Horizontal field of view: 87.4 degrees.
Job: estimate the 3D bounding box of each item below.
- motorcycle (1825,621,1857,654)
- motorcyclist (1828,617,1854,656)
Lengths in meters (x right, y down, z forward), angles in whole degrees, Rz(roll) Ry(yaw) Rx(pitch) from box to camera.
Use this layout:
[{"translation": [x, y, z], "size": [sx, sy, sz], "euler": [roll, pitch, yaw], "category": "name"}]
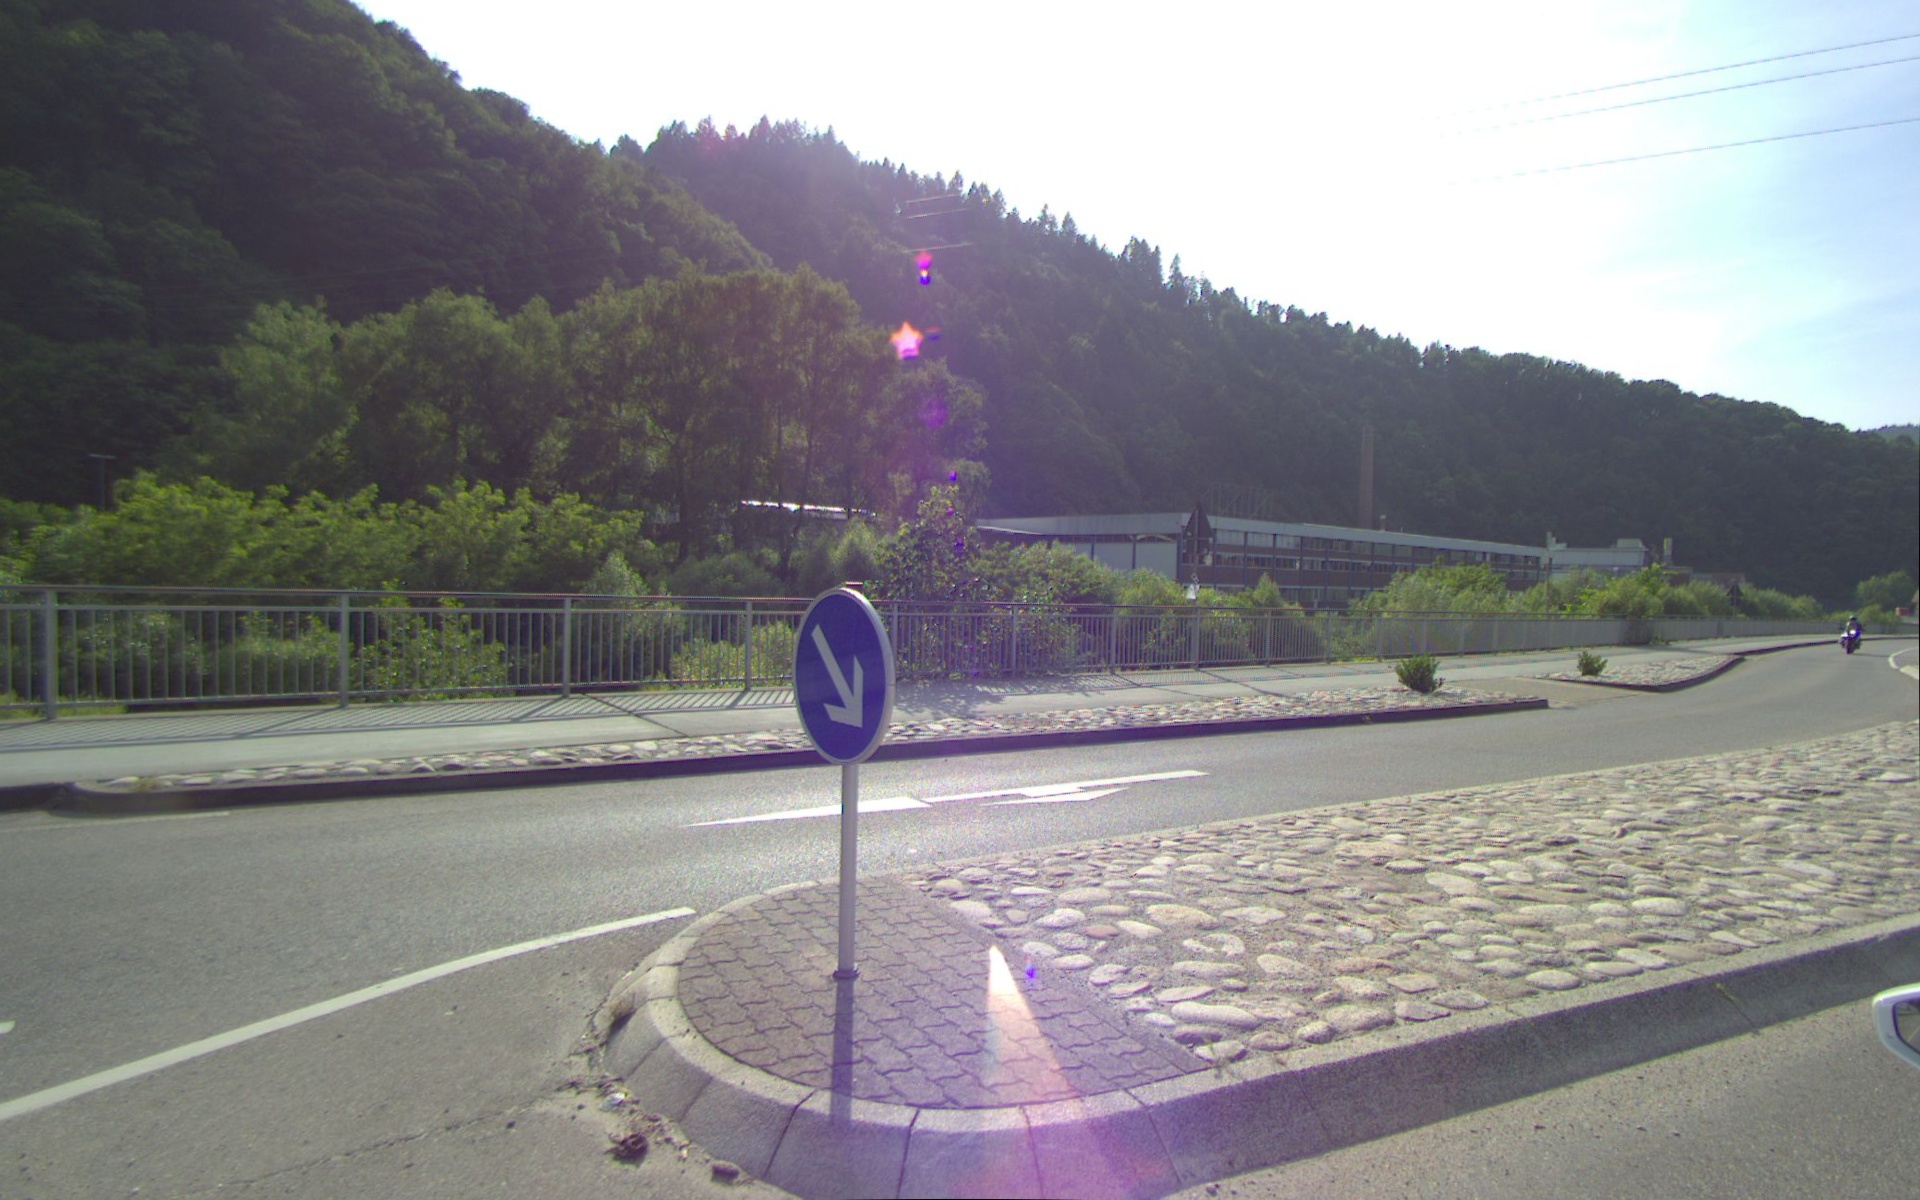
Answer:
[{"translation": [39.719, 1.670, 45.284], "size": [2.300, 1.441, 0.766], "euler": [1, 0, -41], "category": "motorcycle"}, {"translation": [39.632, 1.635, 45.185], "size": [0.721, 1.700, 0.756], "euler": [2, 0, -40], "category": "motorcyclist"}]
